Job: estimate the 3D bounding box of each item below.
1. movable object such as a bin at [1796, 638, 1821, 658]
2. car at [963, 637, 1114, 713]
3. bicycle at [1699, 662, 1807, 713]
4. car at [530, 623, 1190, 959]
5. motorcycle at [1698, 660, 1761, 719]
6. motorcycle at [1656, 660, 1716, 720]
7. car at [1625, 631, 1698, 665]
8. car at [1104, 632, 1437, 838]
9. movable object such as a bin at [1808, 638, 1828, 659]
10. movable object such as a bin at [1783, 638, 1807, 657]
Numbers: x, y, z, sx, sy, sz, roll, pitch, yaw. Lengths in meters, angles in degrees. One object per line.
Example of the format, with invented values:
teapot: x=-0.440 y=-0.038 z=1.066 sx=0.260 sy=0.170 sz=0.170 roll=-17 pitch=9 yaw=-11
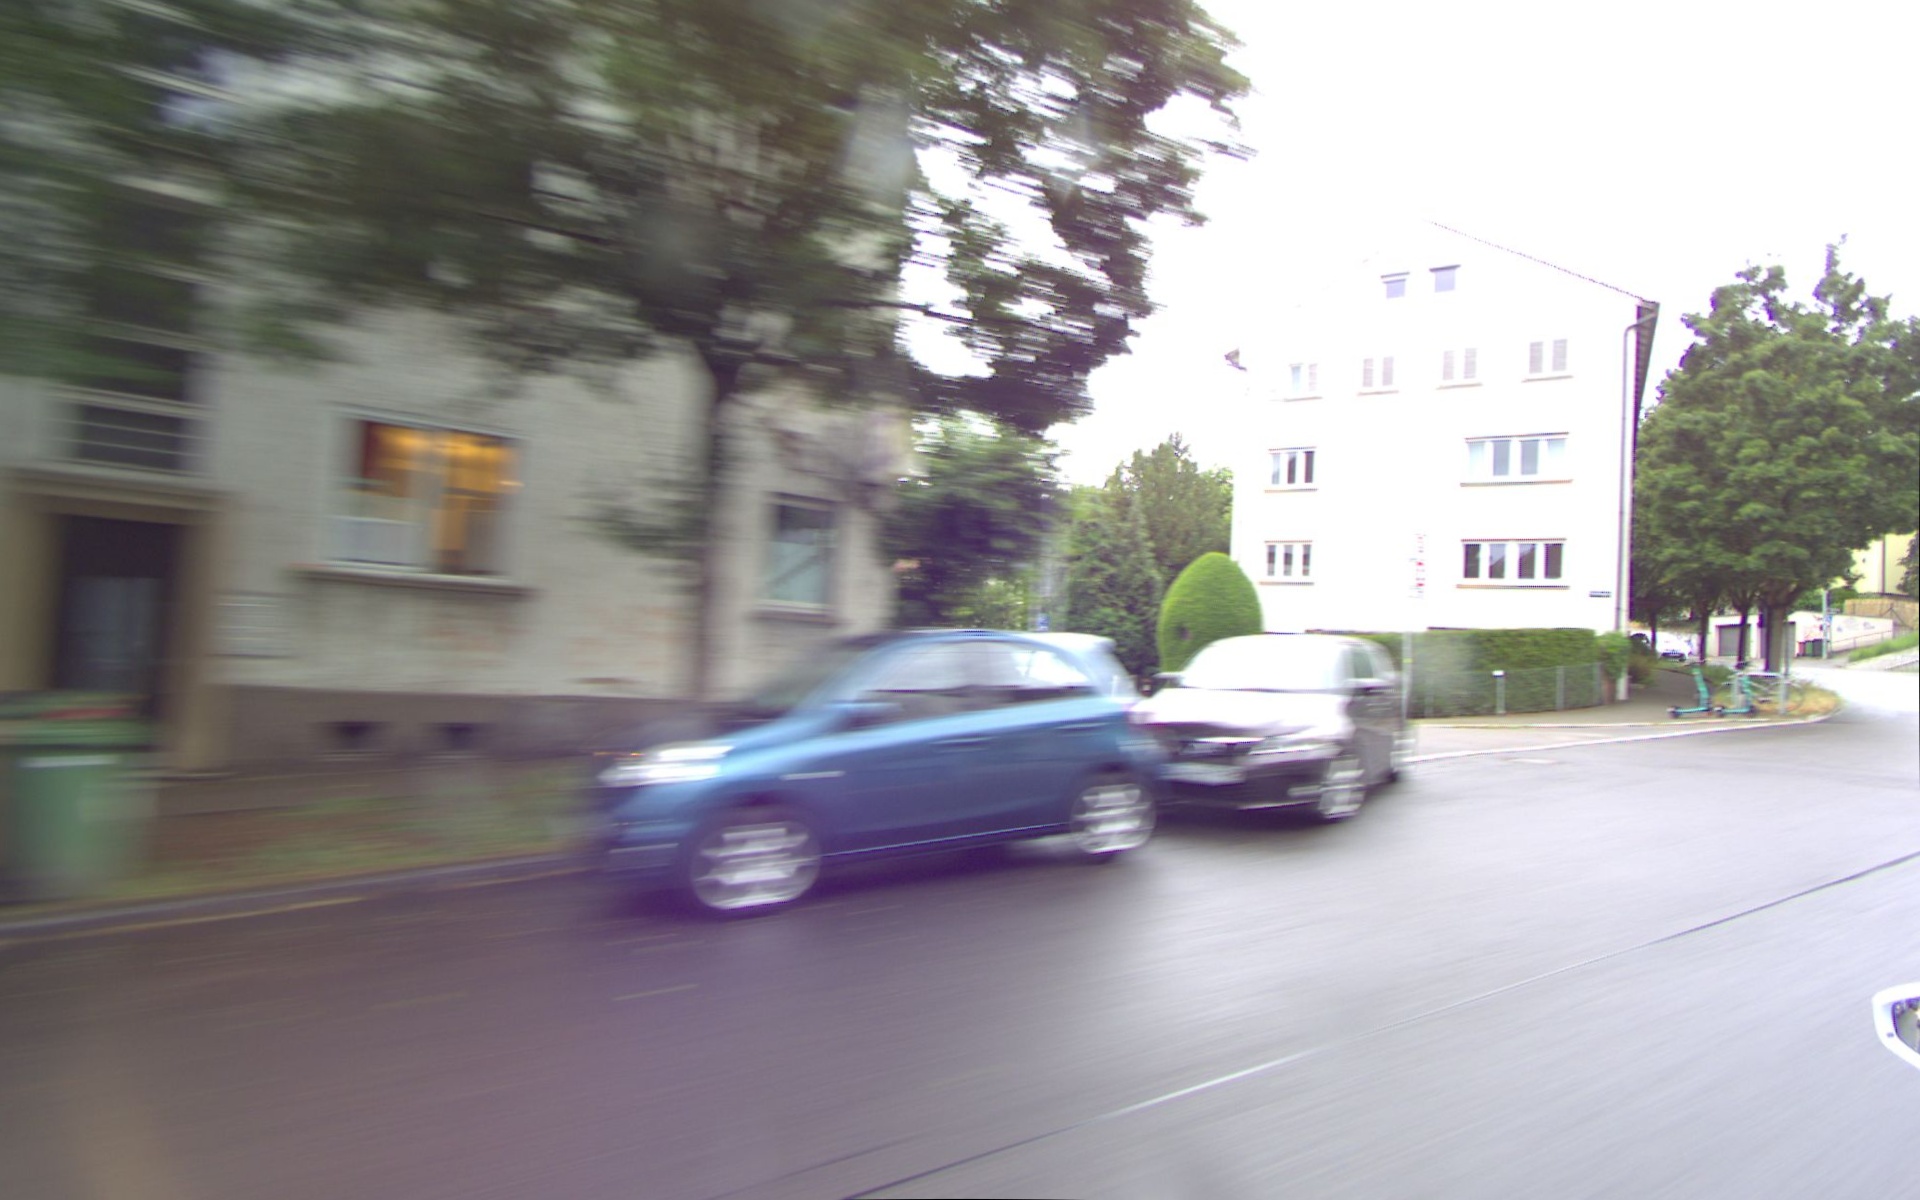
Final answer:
movable object such as a bin: x=51.984 y=2.948 z=61.553 sx=0.846 sy=1.201 sz=0.786 roll=1 pitch=-1 yaw=-6
car: x=1.678 y=1.790 z=22.965 sx=1.969 sy=1.536 sz=4.091 roll=3 pitch=-7 yaw=-19
bicycle: x=18.565 y=2.032 z=23.570 sx=1.937 sy=1.074 sz=0.752 roll=0 pitch=-1 yaw=35
car: x=-0.560 y=0.932 z=6.393 sx=3.835 sy=1.482 sz=1.704 roll=0 pitch=1 yaw=-31
motorcycle: x=16.593 y=1.911 z=21.648 sx=1.381 sy=1.219 sz=0.555 roll=1 pitch=-1 yaw=-27
motorcycle: x=15.807 y=1.937 z=21.863 sx=1.288 sy=1.244 sz=0.550 roll=1 pitch=-1 yaw=-27
car: x=39.709 y=2.703 z=56.972 sx=1.951 sy=1.812 sz=4.697 roll=-2 pitch=-2 yaw=17
car: x=3.110 y=1.045 z=9.375 sx=1.965 sy=1.409 sz=4.188 roll=0 pitch=-2 yaw=32
movable object such as a bin: x=51.986 y=2.938 z=60.853 sx=0.691 sy=1.239 sz=0.580 roll=1 pitch=-1 yaw=-6
movable object such as a bin: x=51.835 y=2.947 z=62.372 sx=0.846 sy=1.157 sz=0.799 roll=1 pitch=-1 yaw=-6
